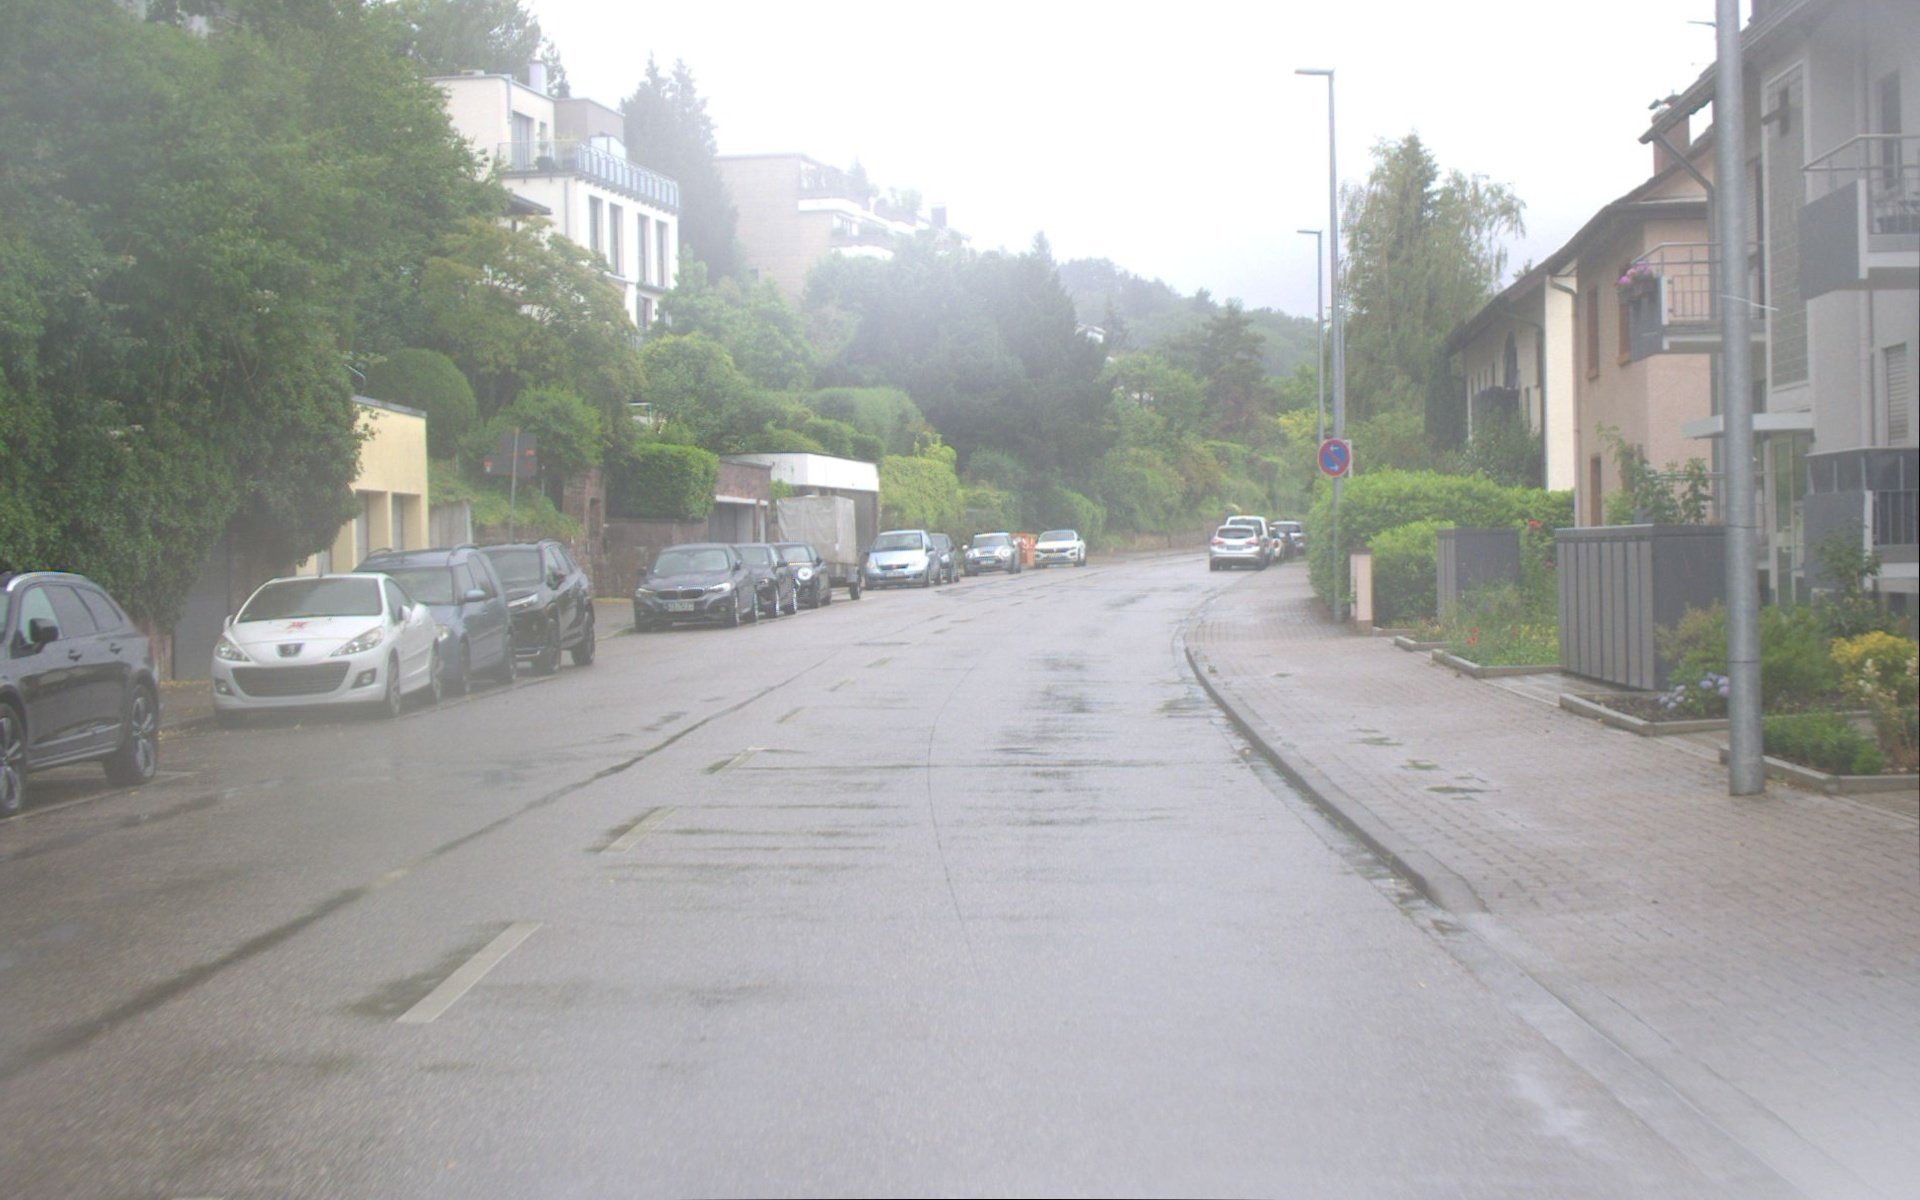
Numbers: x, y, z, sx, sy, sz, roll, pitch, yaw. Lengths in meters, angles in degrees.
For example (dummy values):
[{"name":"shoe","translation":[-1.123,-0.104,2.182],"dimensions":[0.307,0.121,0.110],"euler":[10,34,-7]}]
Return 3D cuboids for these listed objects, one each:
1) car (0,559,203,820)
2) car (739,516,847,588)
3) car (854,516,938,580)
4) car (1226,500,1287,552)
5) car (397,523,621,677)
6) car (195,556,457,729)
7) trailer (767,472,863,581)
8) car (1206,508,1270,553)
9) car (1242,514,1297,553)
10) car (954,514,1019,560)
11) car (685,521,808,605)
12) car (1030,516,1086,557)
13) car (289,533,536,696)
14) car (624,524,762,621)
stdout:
[{"name":"car","translation":[-6.548,0.576,22.320],"dimensions":[1.908,1.475,4.755],"euler":[-4,1,3]},{"name":"car","translation":[-3.547,-1.043,73.660],"dimensions":[1.808,1.344,3.776],"euler":[-3,2,4]},{"name":"car","translation":[-1.735,-1.435,94.070],"dimensions":[1.756,1.534,3.756],"euler":[-4,2,6]},{"name":"car","translation":[10.507,-2.639,121.712],"dimensions":[1.785,1.784,4.360],"euler":[-1,2,9]},{"name":"car","translation":[-5.655,-0.051,43.640],"dimensions":[1.874,1.620,4.593],"euler":[-4,2,3]},{"name":"car","translation":[-6.134,0.368,33.670],"dimensions":[1.716,1.360,4.084],"euler":[-4,2,0]},{"name":"trailer","translation":[-3.344,-1.724,79.683],"dimensions":[1.537,2.391,3.072],"euler":[-4,2,8]},{"name":"car","translation":[9.435,-2.370,116.253],"dimensions":[1.790,1.454,4.307],"euler":[-1,2,9]},{"name":"car","translation":[11.519,-2.482,127.675],"dimensions":[1.710,1.398,4.202],"euler":[-1,2,9]},{"name":"car","translation":[0.913,-2.154,116.720],"dimensions":[1.756,1.397,3.769],"euler":[-4,2,6]},{"name":"car","translation":[-4.147,-0.752,67.388],"dimensions":[1.786,1.410,4.217],"euler":[-3,2,4]},{"name":"car","translation":[3.877,-2.506,135.660],"dimensions":[1.756,1.492,4.219],"euler":[-3,1,7]},{"name":"car","translation":[-6.043,0.114,38.399],"dimensions":[1.742,1.555,4.109],"euler":[-4,2,4]},{"name":"car","translation":[-4.733,-0.528,61.517],"dimensions":[1.786,1.450,4.755],"euler":[-4,2,3]}]
